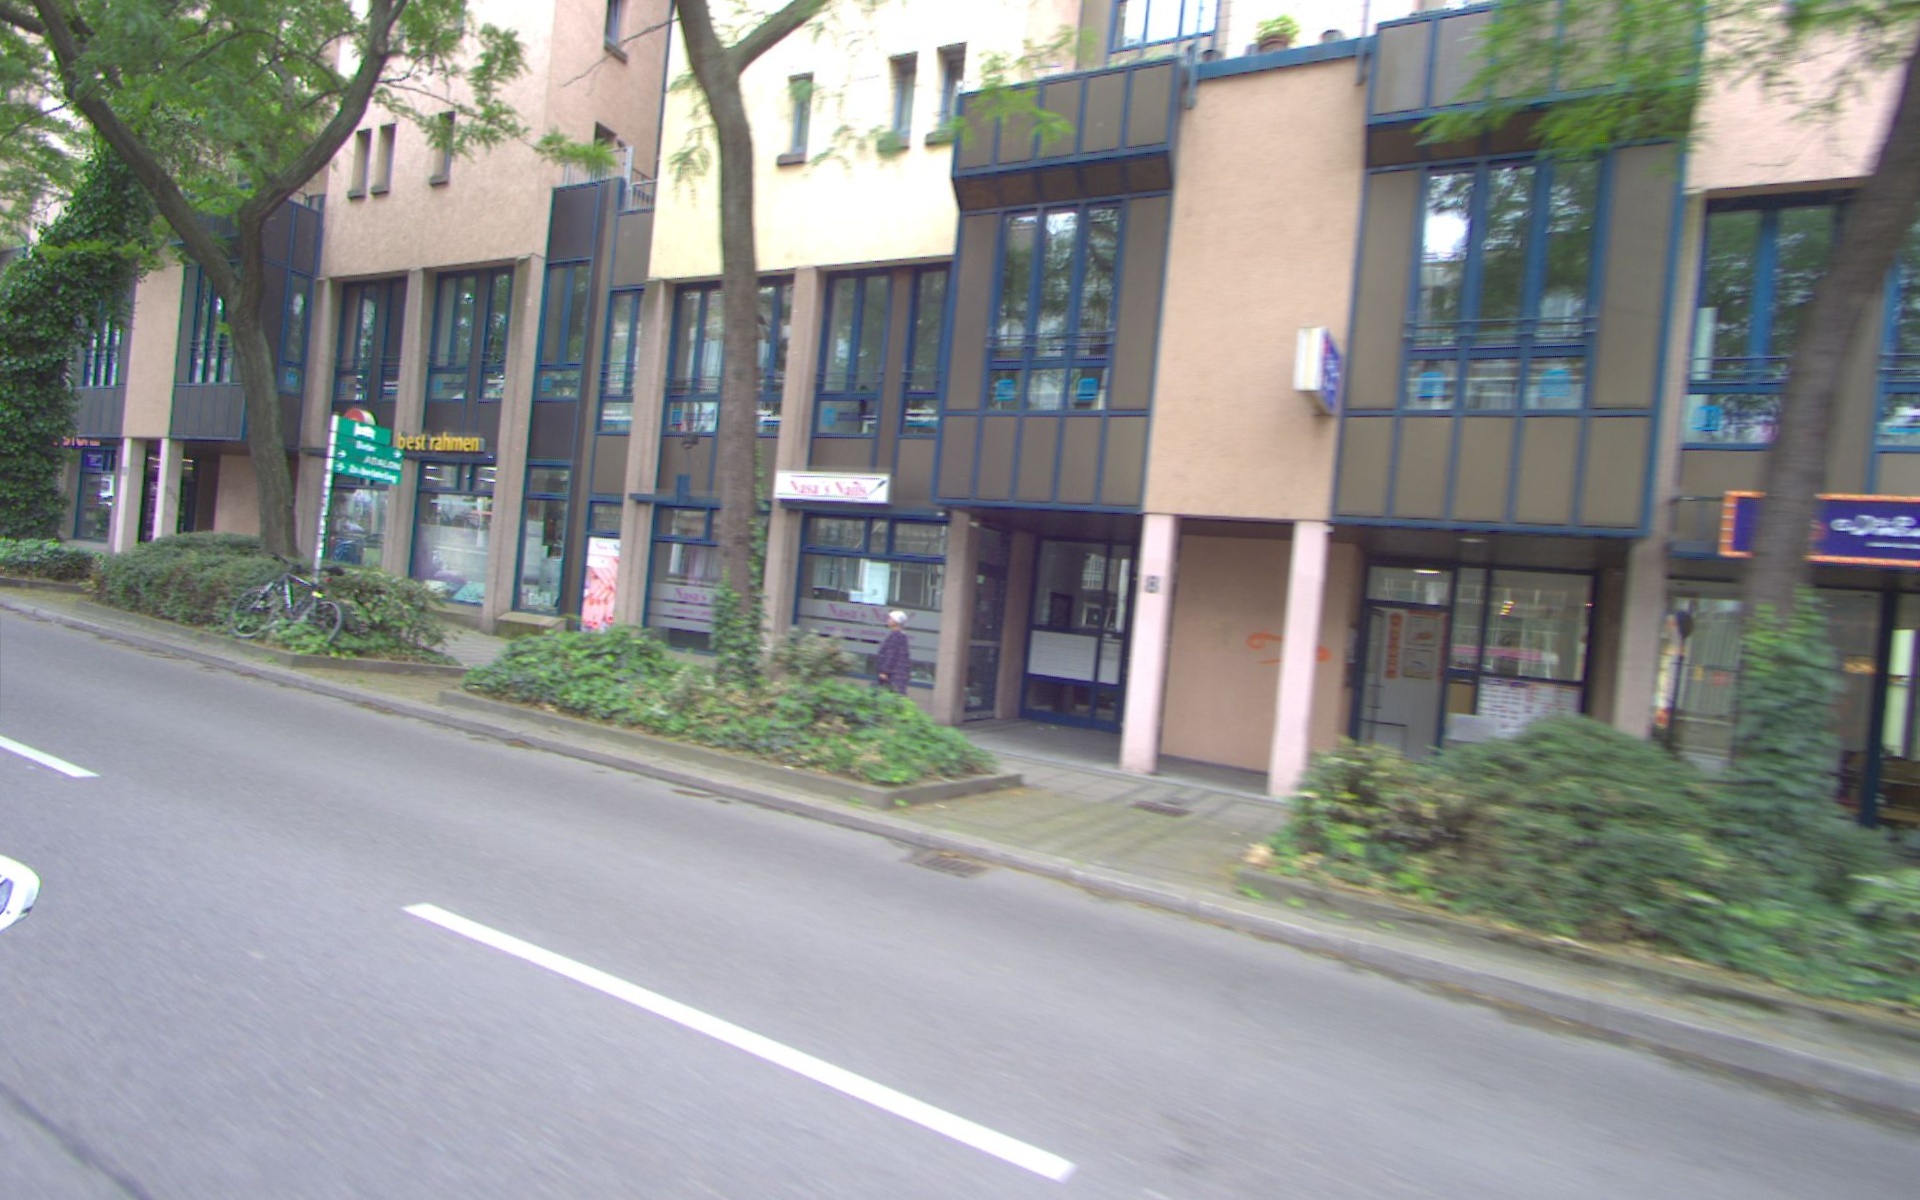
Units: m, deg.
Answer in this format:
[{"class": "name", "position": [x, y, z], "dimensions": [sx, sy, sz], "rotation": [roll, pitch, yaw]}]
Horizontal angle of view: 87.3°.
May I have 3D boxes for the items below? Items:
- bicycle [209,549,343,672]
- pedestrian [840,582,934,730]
[{"class": "bicycle", "position": [-7.890, 0.110, 11.597], "dimensions": [1.541, 1.216, 0.362], "rotation": [7, 1, 20]}, {"class": "pedestrian", "position": [-0.909, 0.708, 12.618], "dimensions": [0.677, 1.732, 0.710], "rotation": [8, 1, 35]}]
